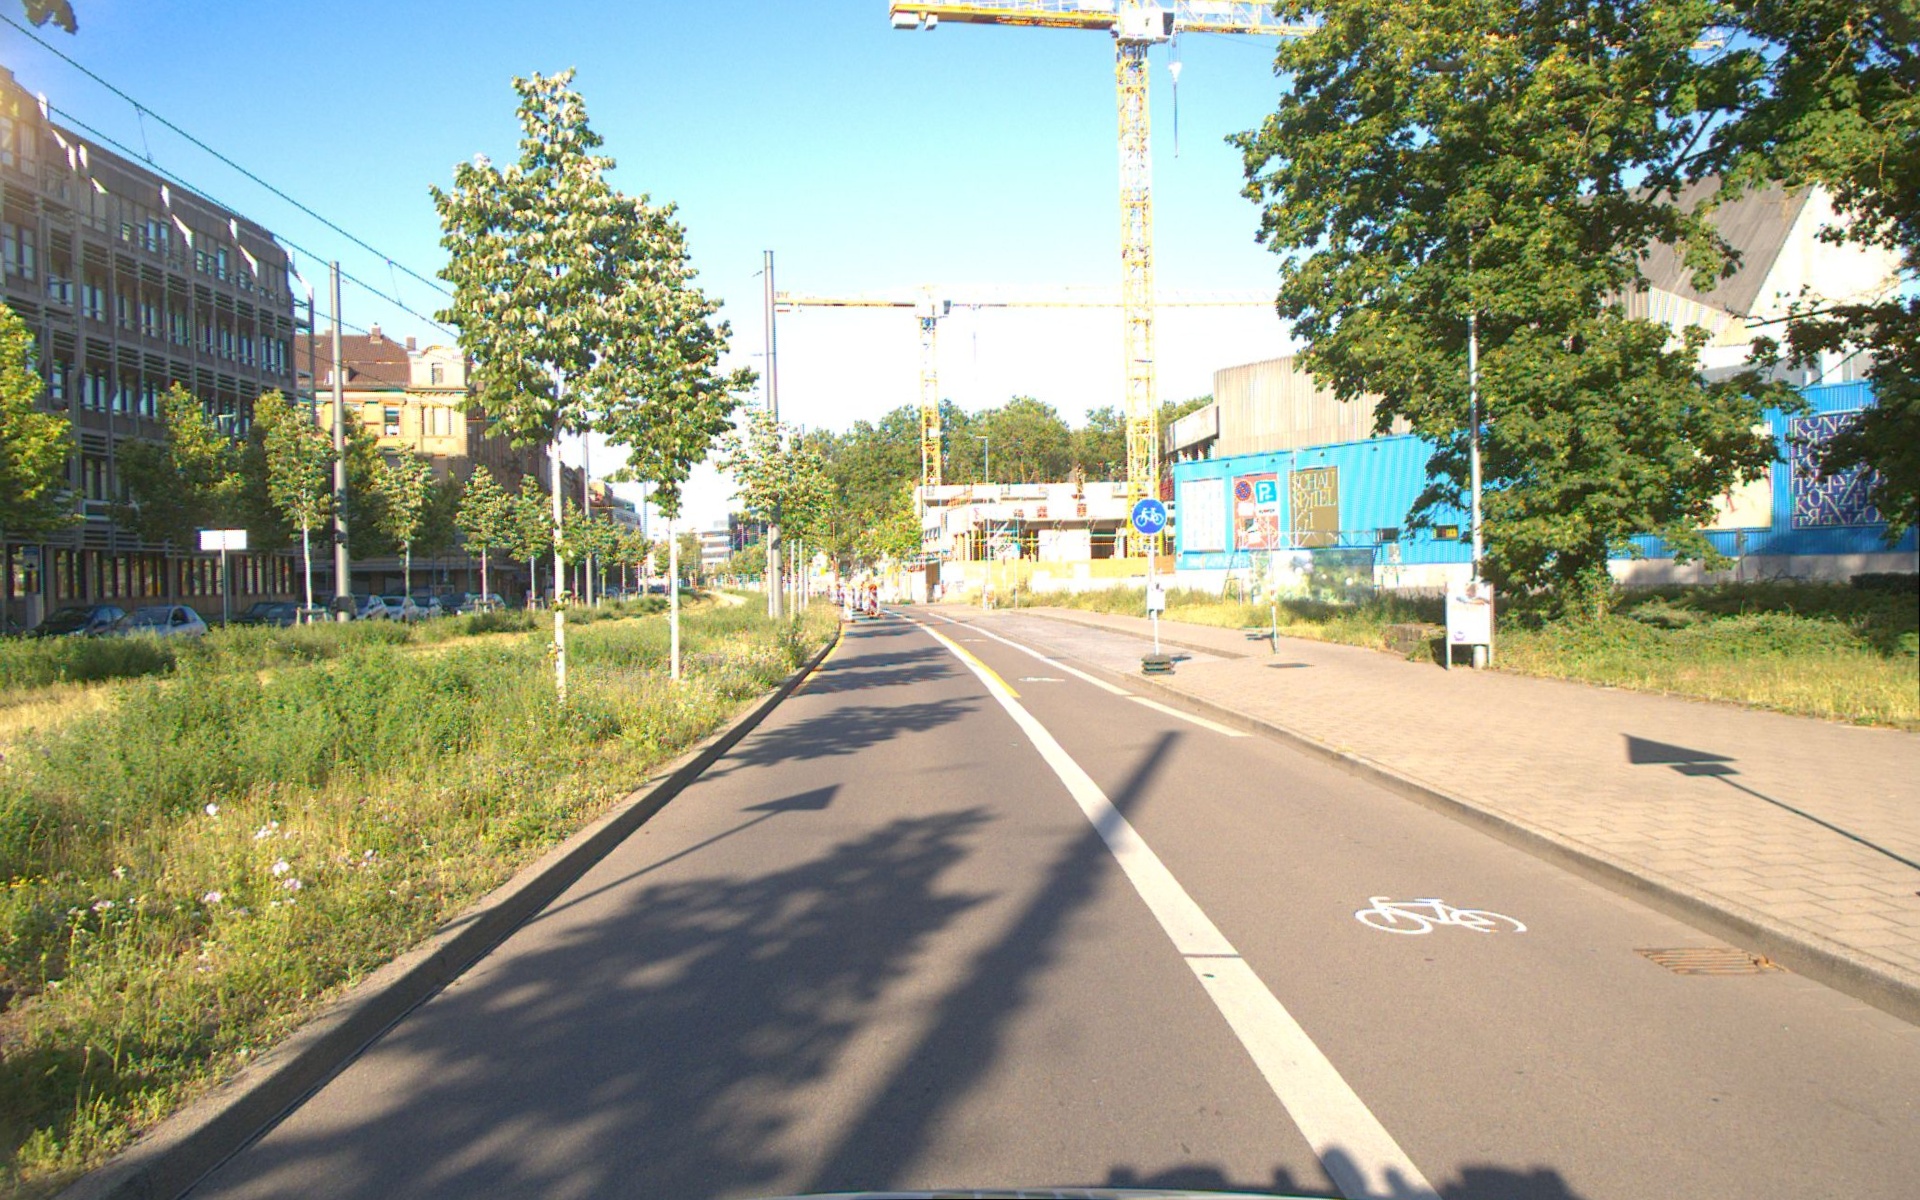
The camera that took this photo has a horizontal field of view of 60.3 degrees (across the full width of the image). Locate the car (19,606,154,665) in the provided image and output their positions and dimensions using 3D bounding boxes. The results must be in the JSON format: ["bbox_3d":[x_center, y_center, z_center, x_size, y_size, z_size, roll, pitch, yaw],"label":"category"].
[{"bbox_3d":[-26.301,1.034,49.970,1.865,1.602,4.299,-2,1,-2],"label":"car"}]

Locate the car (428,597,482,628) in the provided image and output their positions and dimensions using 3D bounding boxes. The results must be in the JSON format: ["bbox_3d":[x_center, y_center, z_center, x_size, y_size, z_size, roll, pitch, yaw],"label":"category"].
[{"bbox_3d":[-28.684,0.700,94.065,1.865,1.602,4.299,-2,1,-2],"label":"car"}]

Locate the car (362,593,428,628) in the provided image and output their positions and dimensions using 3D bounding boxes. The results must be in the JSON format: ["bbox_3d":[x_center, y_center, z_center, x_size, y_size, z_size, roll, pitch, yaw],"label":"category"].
[{"bbox_3d":[-27.498,0.485,80.631,1.865,1.602,4.299,-2,1,-2],"label":"car"}]

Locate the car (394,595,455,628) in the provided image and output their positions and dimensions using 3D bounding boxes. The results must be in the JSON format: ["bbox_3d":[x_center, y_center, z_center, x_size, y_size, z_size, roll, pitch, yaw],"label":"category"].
[{"bbox_3d":[-27.972,0.579,86.495,1.865,1.602,4.299,-2,1,-2],"label":"car"}]

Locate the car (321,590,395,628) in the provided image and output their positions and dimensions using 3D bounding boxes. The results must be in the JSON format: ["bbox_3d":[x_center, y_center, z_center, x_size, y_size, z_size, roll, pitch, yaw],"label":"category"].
[{"bbox_3d":[-27.167,0.373,74.777,1.865,1.602,4.299,-2,1,-2],"label":"car"}]

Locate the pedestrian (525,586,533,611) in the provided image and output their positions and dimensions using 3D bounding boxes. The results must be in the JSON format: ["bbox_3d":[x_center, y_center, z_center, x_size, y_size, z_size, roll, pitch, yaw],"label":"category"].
[{"bbox_3d":[-34.481,-0.101,132.302,0.540,1.981,0.648,-1,0,-10],"label":"pedestrian"}]

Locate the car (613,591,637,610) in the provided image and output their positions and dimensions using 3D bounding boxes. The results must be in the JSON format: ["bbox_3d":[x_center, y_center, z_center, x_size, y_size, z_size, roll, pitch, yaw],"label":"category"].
[{"bbox_3d":[-30.356,0.056,149.807,1.868,1.602,4.292,-2,1,-9],"label":"car"}]

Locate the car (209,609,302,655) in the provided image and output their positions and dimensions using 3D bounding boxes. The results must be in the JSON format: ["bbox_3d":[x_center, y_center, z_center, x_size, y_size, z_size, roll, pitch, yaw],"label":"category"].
[{"bbox_3d":[-27.314,1.204,64.284,1.865,1.602,4.299,-2,1,-2],"label":"car"}]

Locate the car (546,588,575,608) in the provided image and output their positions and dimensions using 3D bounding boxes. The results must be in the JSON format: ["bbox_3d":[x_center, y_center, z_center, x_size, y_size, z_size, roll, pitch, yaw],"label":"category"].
[{"bbox_3d":[-32.807,-0.167,135.843,1.868,1.602,4.292,-2,1,-9],"label":"car"}]

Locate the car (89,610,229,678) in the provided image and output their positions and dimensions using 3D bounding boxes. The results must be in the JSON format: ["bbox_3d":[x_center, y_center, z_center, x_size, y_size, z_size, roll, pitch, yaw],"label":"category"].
[{"bbox_3d":[-21.309,1.129,44.181,1.865,1.602,3.999,-2,1,-2],"label":"car"}]

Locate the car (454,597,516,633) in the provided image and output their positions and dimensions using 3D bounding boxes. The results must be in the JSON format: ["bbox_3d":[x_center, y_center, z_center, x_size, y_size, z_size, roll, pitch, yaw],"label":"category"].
[{"bbox_3d":[-22.810,0.697,79.561,1.865,1.602,4.299,-2,1,-2],"label":"car"}]

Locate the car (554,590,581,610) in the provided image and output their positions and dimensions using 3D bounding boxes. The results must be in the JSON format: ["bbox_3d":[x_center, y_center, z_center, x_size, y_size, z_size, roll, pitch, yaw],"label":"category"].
[{"bbox_3d":[-33.499,-0.020,141.135,1.868,1.602,4.292,-2,1,-9],"label":"car"}]

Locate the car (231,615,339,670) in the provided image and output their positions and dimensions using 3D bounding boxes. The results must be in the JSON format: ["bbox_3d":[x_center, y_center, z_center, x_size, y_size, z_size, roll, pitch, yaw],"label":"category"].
[{"bbox_3d":[-22.235,1.381,54.665,1.865,1.602,4.409,-2,1,-2],"label":"car"}]
